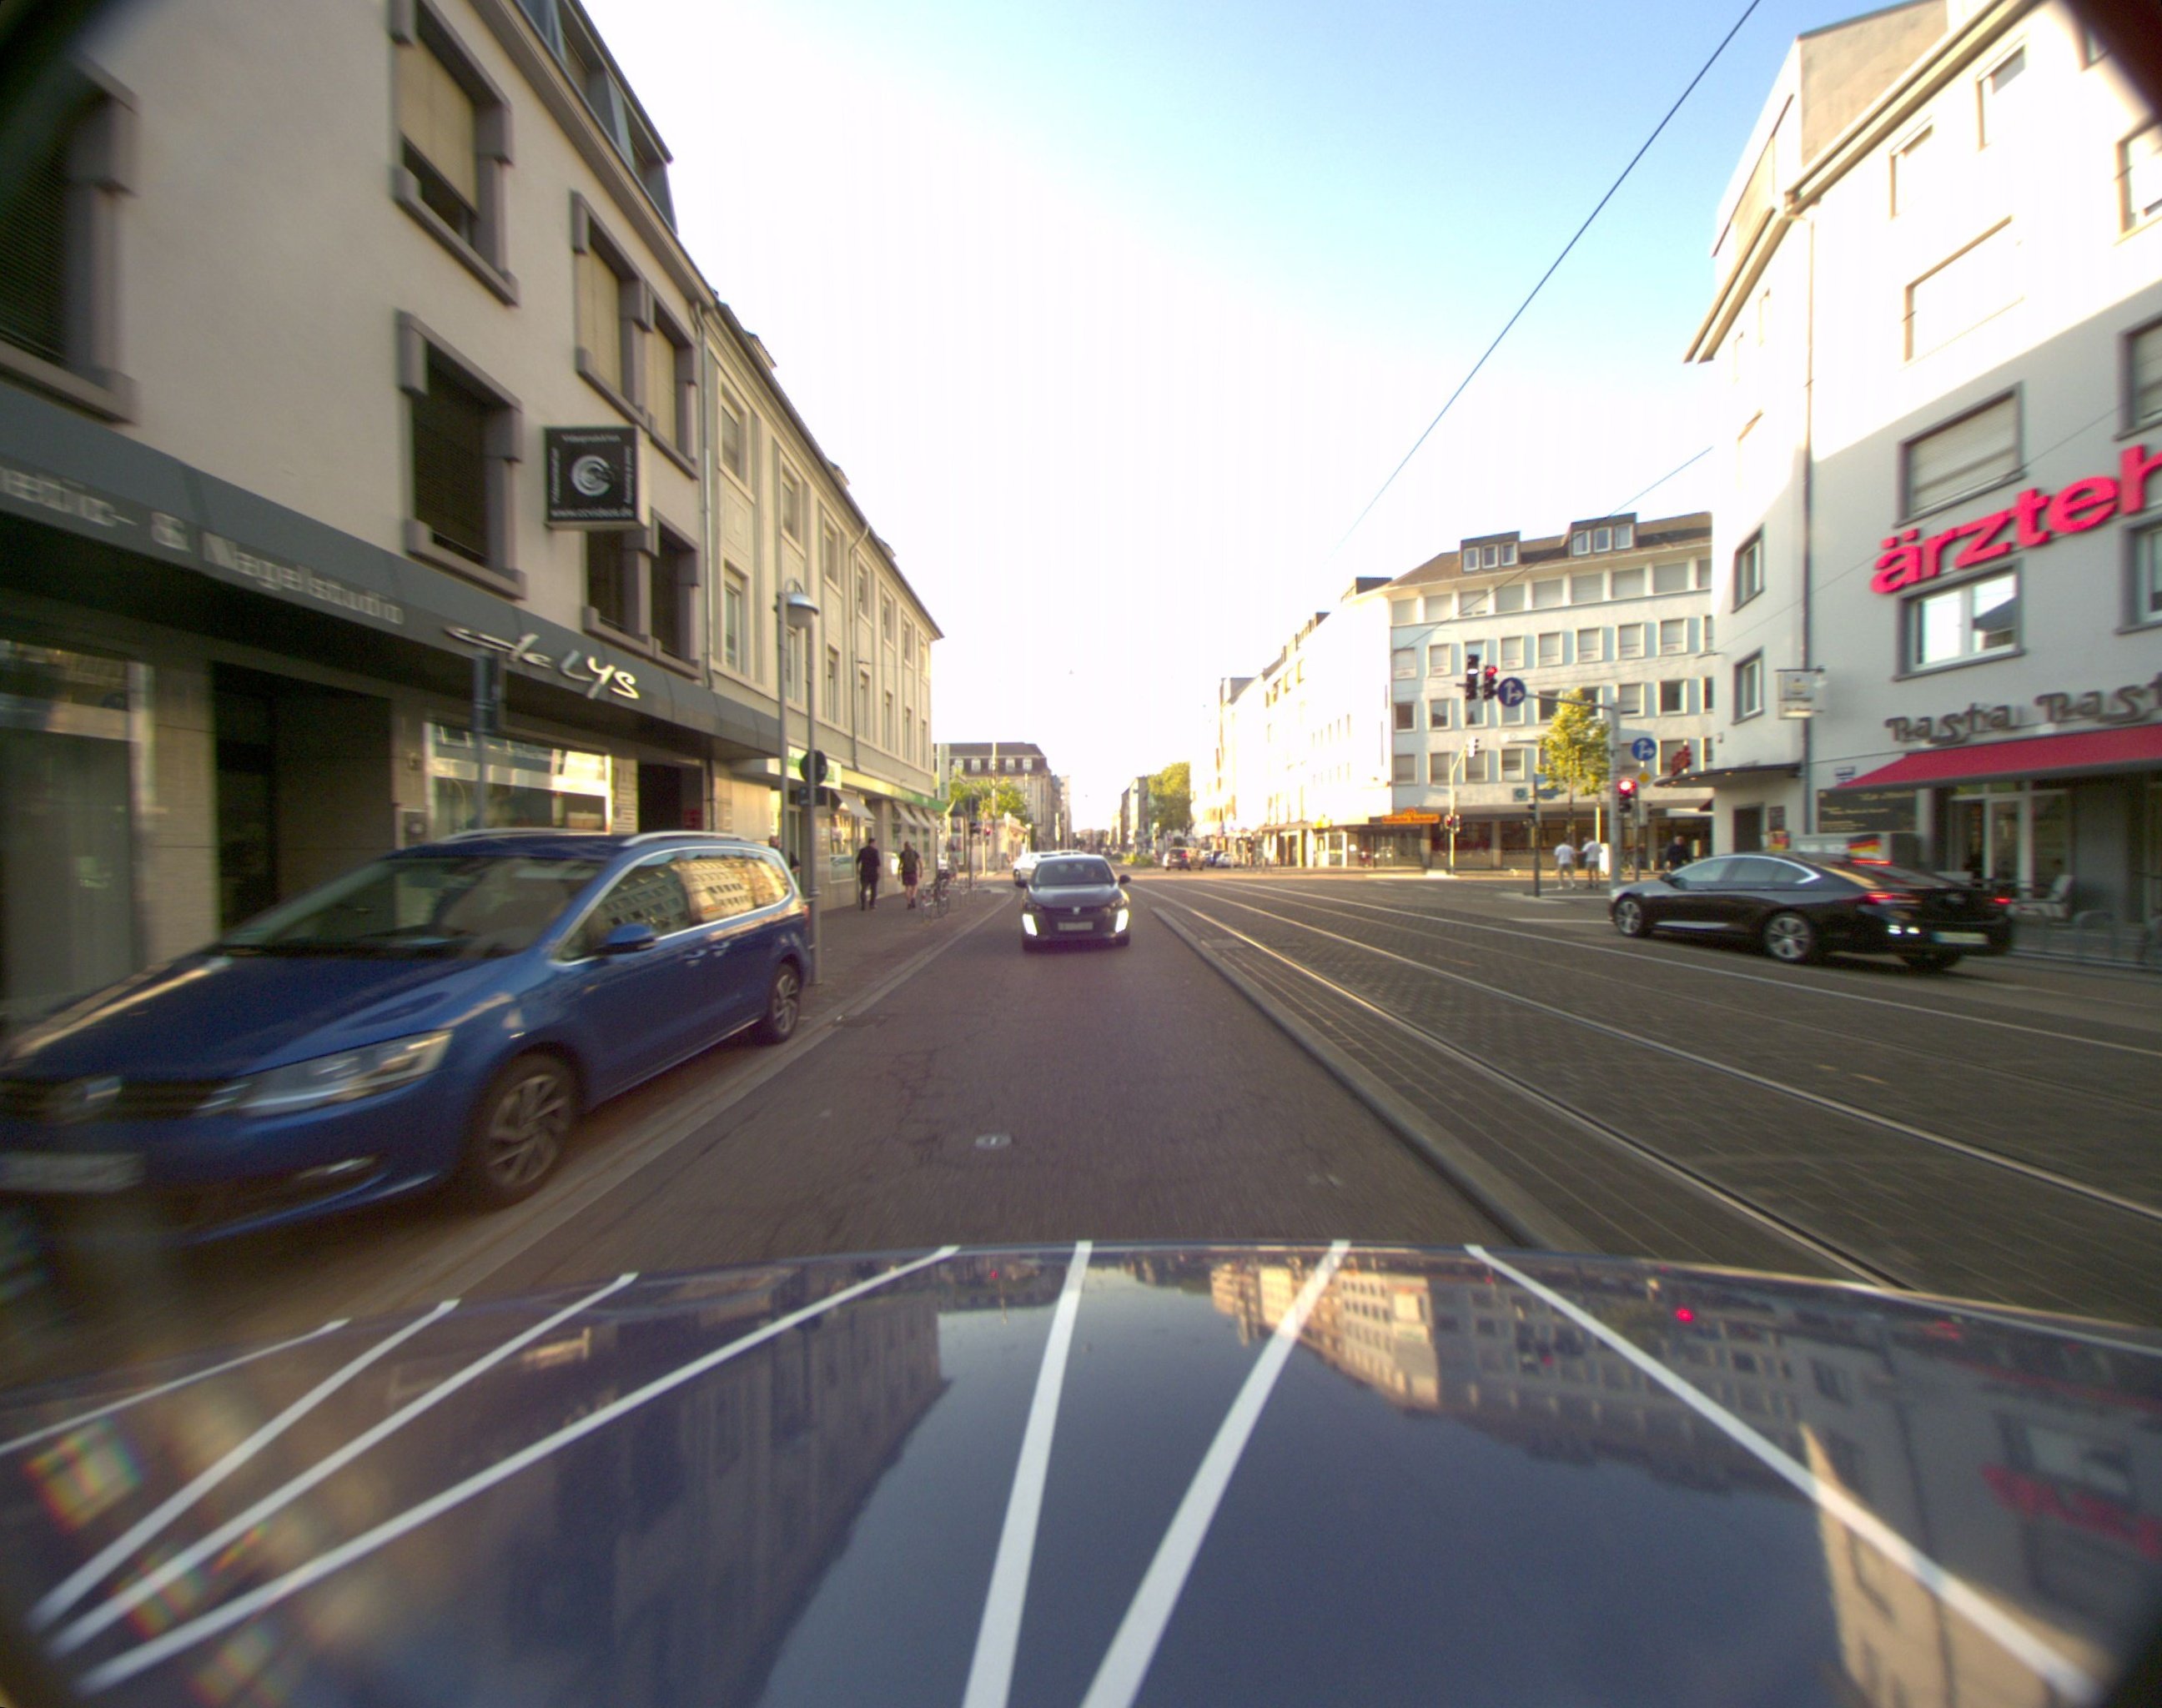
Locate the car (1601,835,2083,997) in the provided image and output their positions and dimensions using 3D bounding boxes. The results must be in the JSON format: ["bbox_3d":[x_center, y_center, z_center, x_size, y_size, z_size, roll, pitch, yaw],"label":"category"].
[{"bbox_3d":[9.850,0.652,10.593,1.998,1.717,4.727,1,1,1],"label":"car"}]

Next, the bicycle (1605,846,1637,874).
[{"bbox_3d":[26.119,0.267,36.772,0.638,1.246,2.377,0,2,19],"label":"bicycle"}]

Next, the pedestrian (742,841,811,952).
[{"bbox_3d":[-5.124,0.690,12.835,0.768,1.795,0.928,1,1,2],"label":"pedestrian"}]

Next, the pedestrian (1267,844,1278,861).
[{"bbox_3d":[16.313,-0.124,64.650,0.544,1.463,0.624,-4,1,-16],"label":"pedestrian"}]

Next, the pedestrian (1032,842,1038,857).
[{"bbox_3d":[-6.285,-0.662,104.155,0.714,2.003,0.840,-1,4,-1],"label":"pedestrian"}]

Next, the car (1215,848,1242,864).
[{"bbox_3d":[12.658,0.202,65.489,1.636,1.246,3.389,-3,0,1],"label":"car"}]

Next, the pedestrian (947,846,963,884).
[{"bbox_3d":[-5.900,0.511,35.584,0.694,1.732,0.653,-1,1,-9],"label":"pedestrian"}]

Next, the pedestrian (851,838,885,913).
[{"bbox_3d":[-5.594,0.547,19.956,0.663,1.917,0.878,0,1,-1],"label":"pedestrian"}]

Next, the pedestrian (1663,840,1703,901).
[{"bbox_3d":[16.655,0.442,21.042,0.712,1.667,0.704,-1,1,24],"label":"pedestrian"}]

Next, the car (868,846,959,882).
[{"bbox_3d":[-8.702,0.492,39.671,4.281,1.787,1.828,-1,1,0],"label":"car"}]

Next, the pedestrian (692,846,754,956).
[{"bbox_3d":[-5.759,0.736,12.247,0.651,1.708,0.678,1,1,1],"label":"pedestrian"}]

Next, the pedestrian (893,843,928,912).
[{"bbox_3d":[-4.537,0.609,20.277,0.739,1.818,0.850,0,1,-1],"label":"pedestrian"}]

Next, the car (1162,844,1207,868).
[{"bbox_3d":[7.402,0.123,53.990,1.824,1.688,4.267,0,1,27],"label":"car"}]

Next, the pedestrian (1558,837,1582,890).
[{"bbox_3d":[16.318,0.297,25.383,0.636,1.734,0.670,0,1,30],"label":"pedestrian"}]

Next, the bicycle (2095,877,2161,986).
[{"bbox_3d":[13.406,0.875,9.042,1.895,1.204,0.553,-3,1,0],"label":"bicycle"}]

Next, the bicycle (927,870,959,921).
[{"bbox_3d":[-3.308,0.980,18.320,0.535,1.140,1.490,0,1,-2],"label":"bicycle"}]

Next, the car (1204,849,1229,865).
[{"bbox_3d":[12.541,0.266,70.351,1.636,1.346,3.389,-3,0,1],"label":"car"}]

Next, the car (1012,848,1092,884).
[{"bbox_3d":[-1.385,0.551,34.676,1.831,1.463,3.975,-3,0,-33],"label":"car"}]

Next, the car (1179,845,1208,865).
[{"bbox_3d":[9.785,0.054,66.405,1.805,1.688,4.568,-1,0,-1],"label":"car"}]

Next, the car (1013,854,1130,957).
[{"bbox_3d":[-0.052,0.810,13.860,1.750,1.435,3.905,-3,1,3],"label":"car"}]

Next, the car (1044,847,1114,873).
[{"bbox_3d":[-0.155,0.341,46.214,3.986,1.463,1.718,-1,1,-11],"label":"car"}]

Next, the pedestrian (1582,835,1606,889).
[{"bbox_3d":[16.936,0.256,25.082,0.636,1.768,0.601,0,1,33],"label":"pedestrian"}]

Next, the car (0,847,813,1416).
[{"bbox_3d":[-3.450,0.828,4.601,1.998,1.717,4.576,1,1,0],"label":"car"}]
